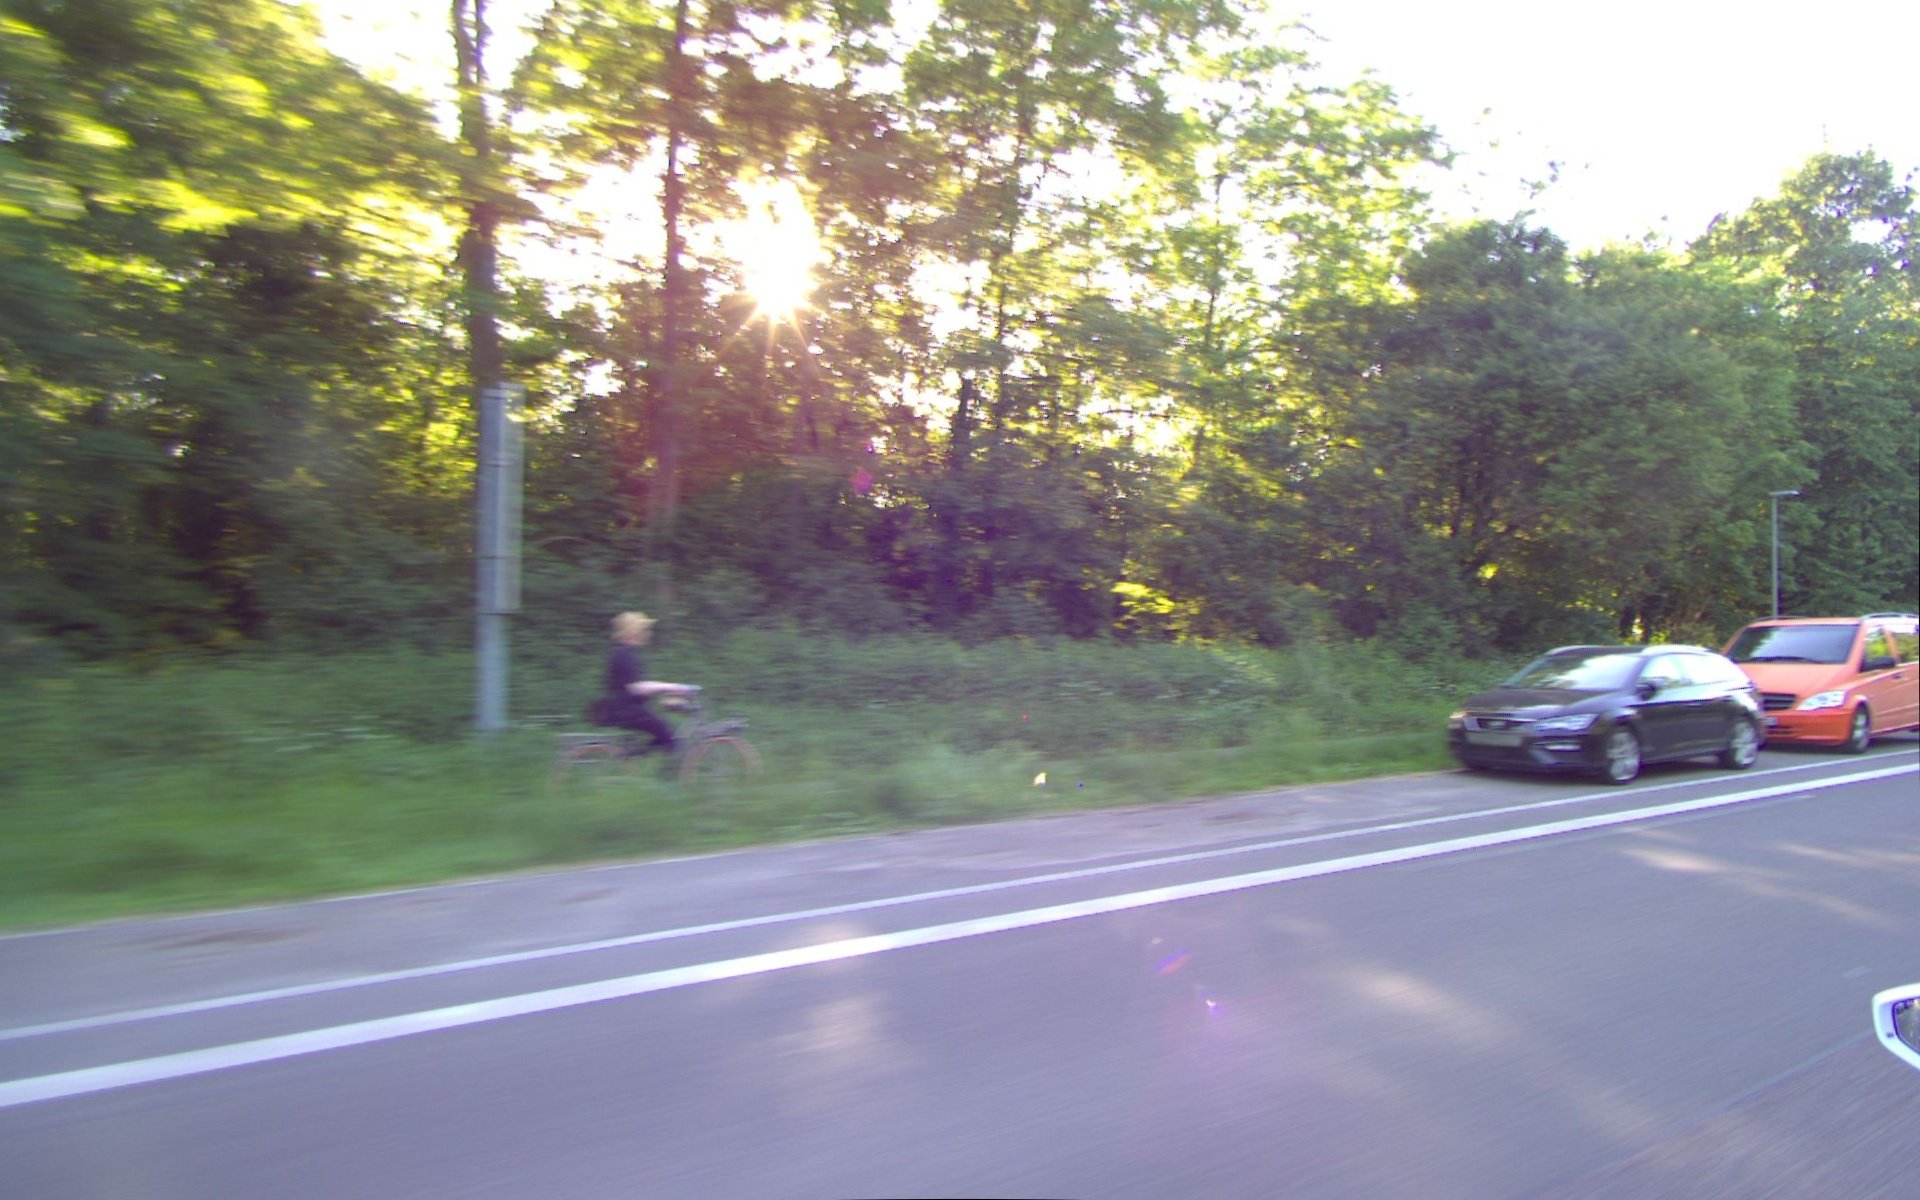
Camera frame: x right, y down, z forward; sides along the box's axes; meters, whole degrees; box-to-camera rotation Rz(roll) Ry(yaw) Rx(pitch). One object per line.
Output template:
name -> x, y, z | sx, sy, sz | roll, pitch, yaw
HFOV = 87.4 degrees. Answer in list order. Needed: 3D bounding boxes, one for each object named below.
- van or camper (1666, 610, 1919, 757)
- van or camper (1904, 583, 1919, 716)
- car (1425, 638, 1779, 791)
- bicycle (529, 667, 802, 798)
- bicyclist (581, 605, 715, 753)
van or camper -> 12.861, 1.164, 15.033 | 4.806, 1.891, 1.914 | 1, -3, -30
van or camper -> 22.060, 1.004, 20.657 | 6.465, 2.606, 2.111 | 1, -2, -30
car -> 7.566, 1.207, 11.749 | 4.273, 1.497, 1.724 | 1, -3, -30
bicycle -> -2.615, 1.137, 9.044 | 2.256, 1.000, 0.693 | 1, -1, -30
bicyclist -> -2.789, 0.678, 8.967 | 1.012, 1.238, 0.695 | 1, -1, -30
